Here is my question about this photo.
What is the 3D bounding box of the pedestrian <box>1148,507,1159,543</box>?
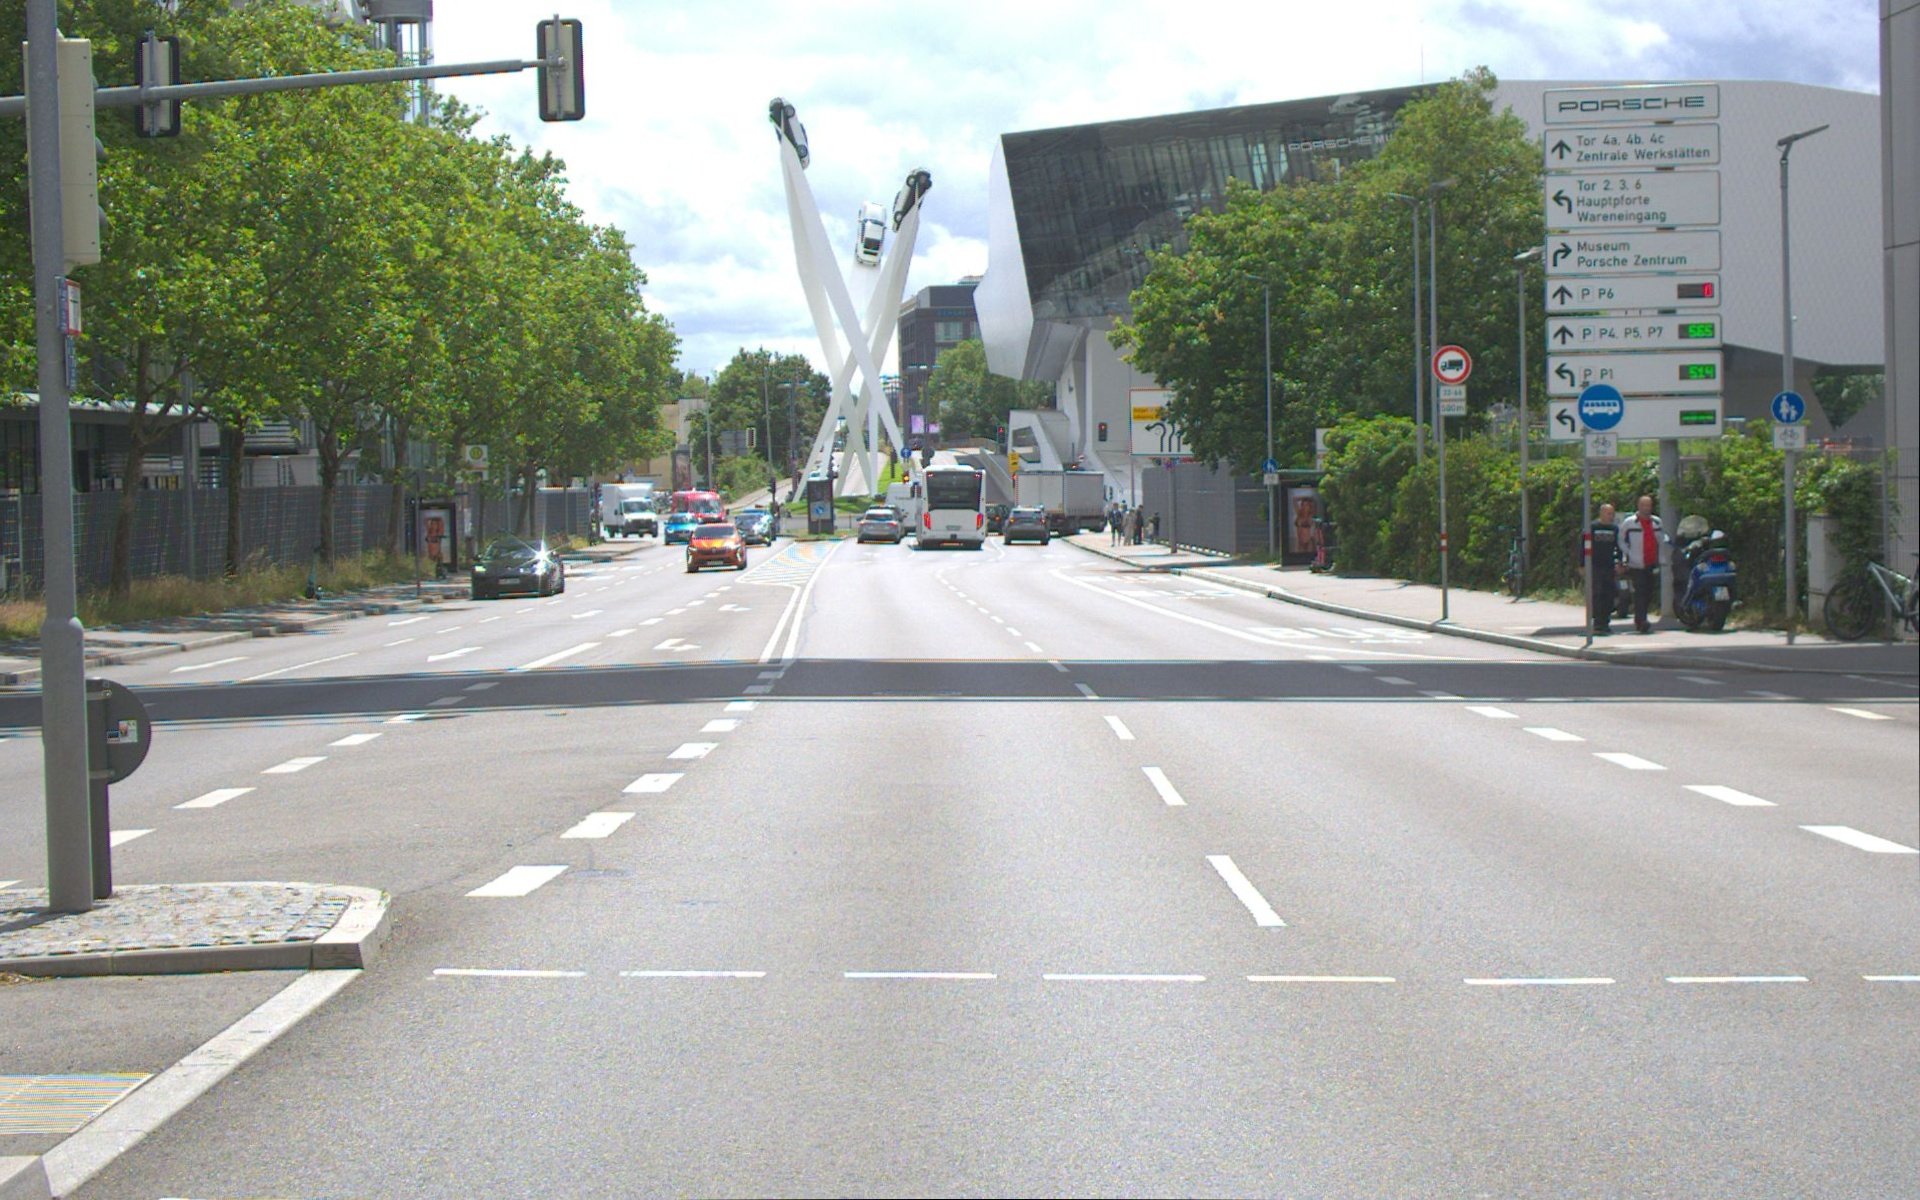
[{"bbox_3d":[7.761,-3.017,138.076,0.386,1.416,0.423,1,0,0],"label":"pedestrian"}]

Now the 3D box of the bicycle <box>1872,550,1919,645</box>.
[{"bbox_3d":[11.662,-0.019,39.542,2.222,1.083,0.476,1,1,35],"label":"bicycle"}]

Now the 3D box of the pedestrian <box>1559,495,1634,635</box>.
[{"bbox_3d":[8.371,-0.462,45.240,0.641,1.787,0.712,-3,1,-16],"label":"pedestrian"}]

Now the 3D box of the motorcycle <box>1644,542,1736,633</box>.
[{"bbox_3d":[9.547,-0.166,45.026,0.418,1.162,1.957,1,1,-11],"label":"motorcycle"}]

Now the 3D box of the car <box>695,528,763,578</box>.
[{"bbox_3d":[-7.029,-1.441,104.853,1.769,1.415,3.701,-3,1,0],"label":"car"}]

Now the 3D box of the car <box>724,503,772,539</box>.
[{"bbox_3d":[-9.067,-3.379,147.252,1.769,1.415,3.701,-3,1,0],"label":"car"}]

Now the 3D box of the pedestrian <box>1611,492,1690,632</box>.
[{"bbox_3d":[9.080,-0.499,45.221,0.691,1.787,0.712,-3,1,-16],"label":"pedestrian"}]

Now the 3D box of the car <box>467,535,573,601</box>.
[{"bbox_3d":[-10.819,-0.817,84.818,1.917,1.483,4.772,-3,1,0],"label":"car"}]

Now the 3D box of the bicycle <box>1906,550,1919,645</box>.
[{"bbox_3d":[11.828,-0.009,38.771,2.191,1.083,0.476,1,1,35],"label":"bicycle"}]

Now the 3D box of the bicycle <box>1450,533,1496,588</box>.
[{"bbox_3d":[9.739,-0.744,65.267,0.418,1.019,1.913,1,1,-5],"label":"bicycle"}]

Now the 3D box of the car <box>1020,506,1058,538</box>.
[{"bbox_3d":[3.357,-3.313,146.271,1.557,1.269,3.701,-3,1,1],"label":"car"}]

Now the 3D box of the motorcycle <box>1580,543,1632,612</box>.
[{"bbox_3d":[9.766,-0.345,52.009,0.457,1.019,1.912,1,1,1],"label":"motorcycle"}]

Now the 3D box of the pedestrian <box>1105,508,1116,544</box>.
[{"bbox_3d":[6.049,-2.974,137.957,0.386,1.416,0.423,1,0,0],"label":"pedestrian"}]

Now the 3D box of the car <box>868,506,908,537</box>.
[{"bbox_3d":[-3.109,-3.393,148.676,1.557,1.269,3.701,-3,1,1],"label":"car"}]

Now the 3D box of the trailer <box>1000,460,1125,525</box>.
[{"bbox_3d":[5.201,-5.339,172.116,3.322,2.984,10.366,1,1,19],"label":"trailer"}]

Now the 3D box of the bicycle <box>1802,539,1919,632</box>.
[{"bbox_3d":[11.171,-0.176,40.872,2.222,1.083,0.476,1,1,35],"label":"bicycle"}]

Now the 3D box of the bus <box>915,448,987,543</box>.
[{"bbox_3d":[-0.344,-4.165,139.083,2.787,3.673,6.943,1,1,0],"label":"bus"}]

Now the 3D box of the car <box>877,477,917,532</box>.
[{"bbox_3d":[-3.160,-4.747,171.459,1.843,2.614,4.000,1,1,-2],"label":"car"}]

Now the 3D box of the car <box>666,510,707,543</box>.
[{"bbox_3d":[-13.187,-3.526,165.903,1.797,1.568,4.001,0,1,-2],"label":"car"}]

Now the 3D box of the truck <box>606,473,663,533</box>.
[{"bbox_3d":[-18.851,-5.577,199.610,2.591,3.312,7.079,1,1,0],"label":"truck"}]

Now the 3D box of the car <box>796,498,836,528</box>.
[{"bbox_3d":[-6.520,-3.946,155.806,1.557,1.269,3.701,-3,1,0],"label":"car"}]

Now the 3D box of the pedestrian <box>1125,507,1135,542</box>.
[{"bbox_3d":[6.806,-3.022,137.518,0.386,1.416,0.423,1,0,0],"label":"pedestrian"}]
